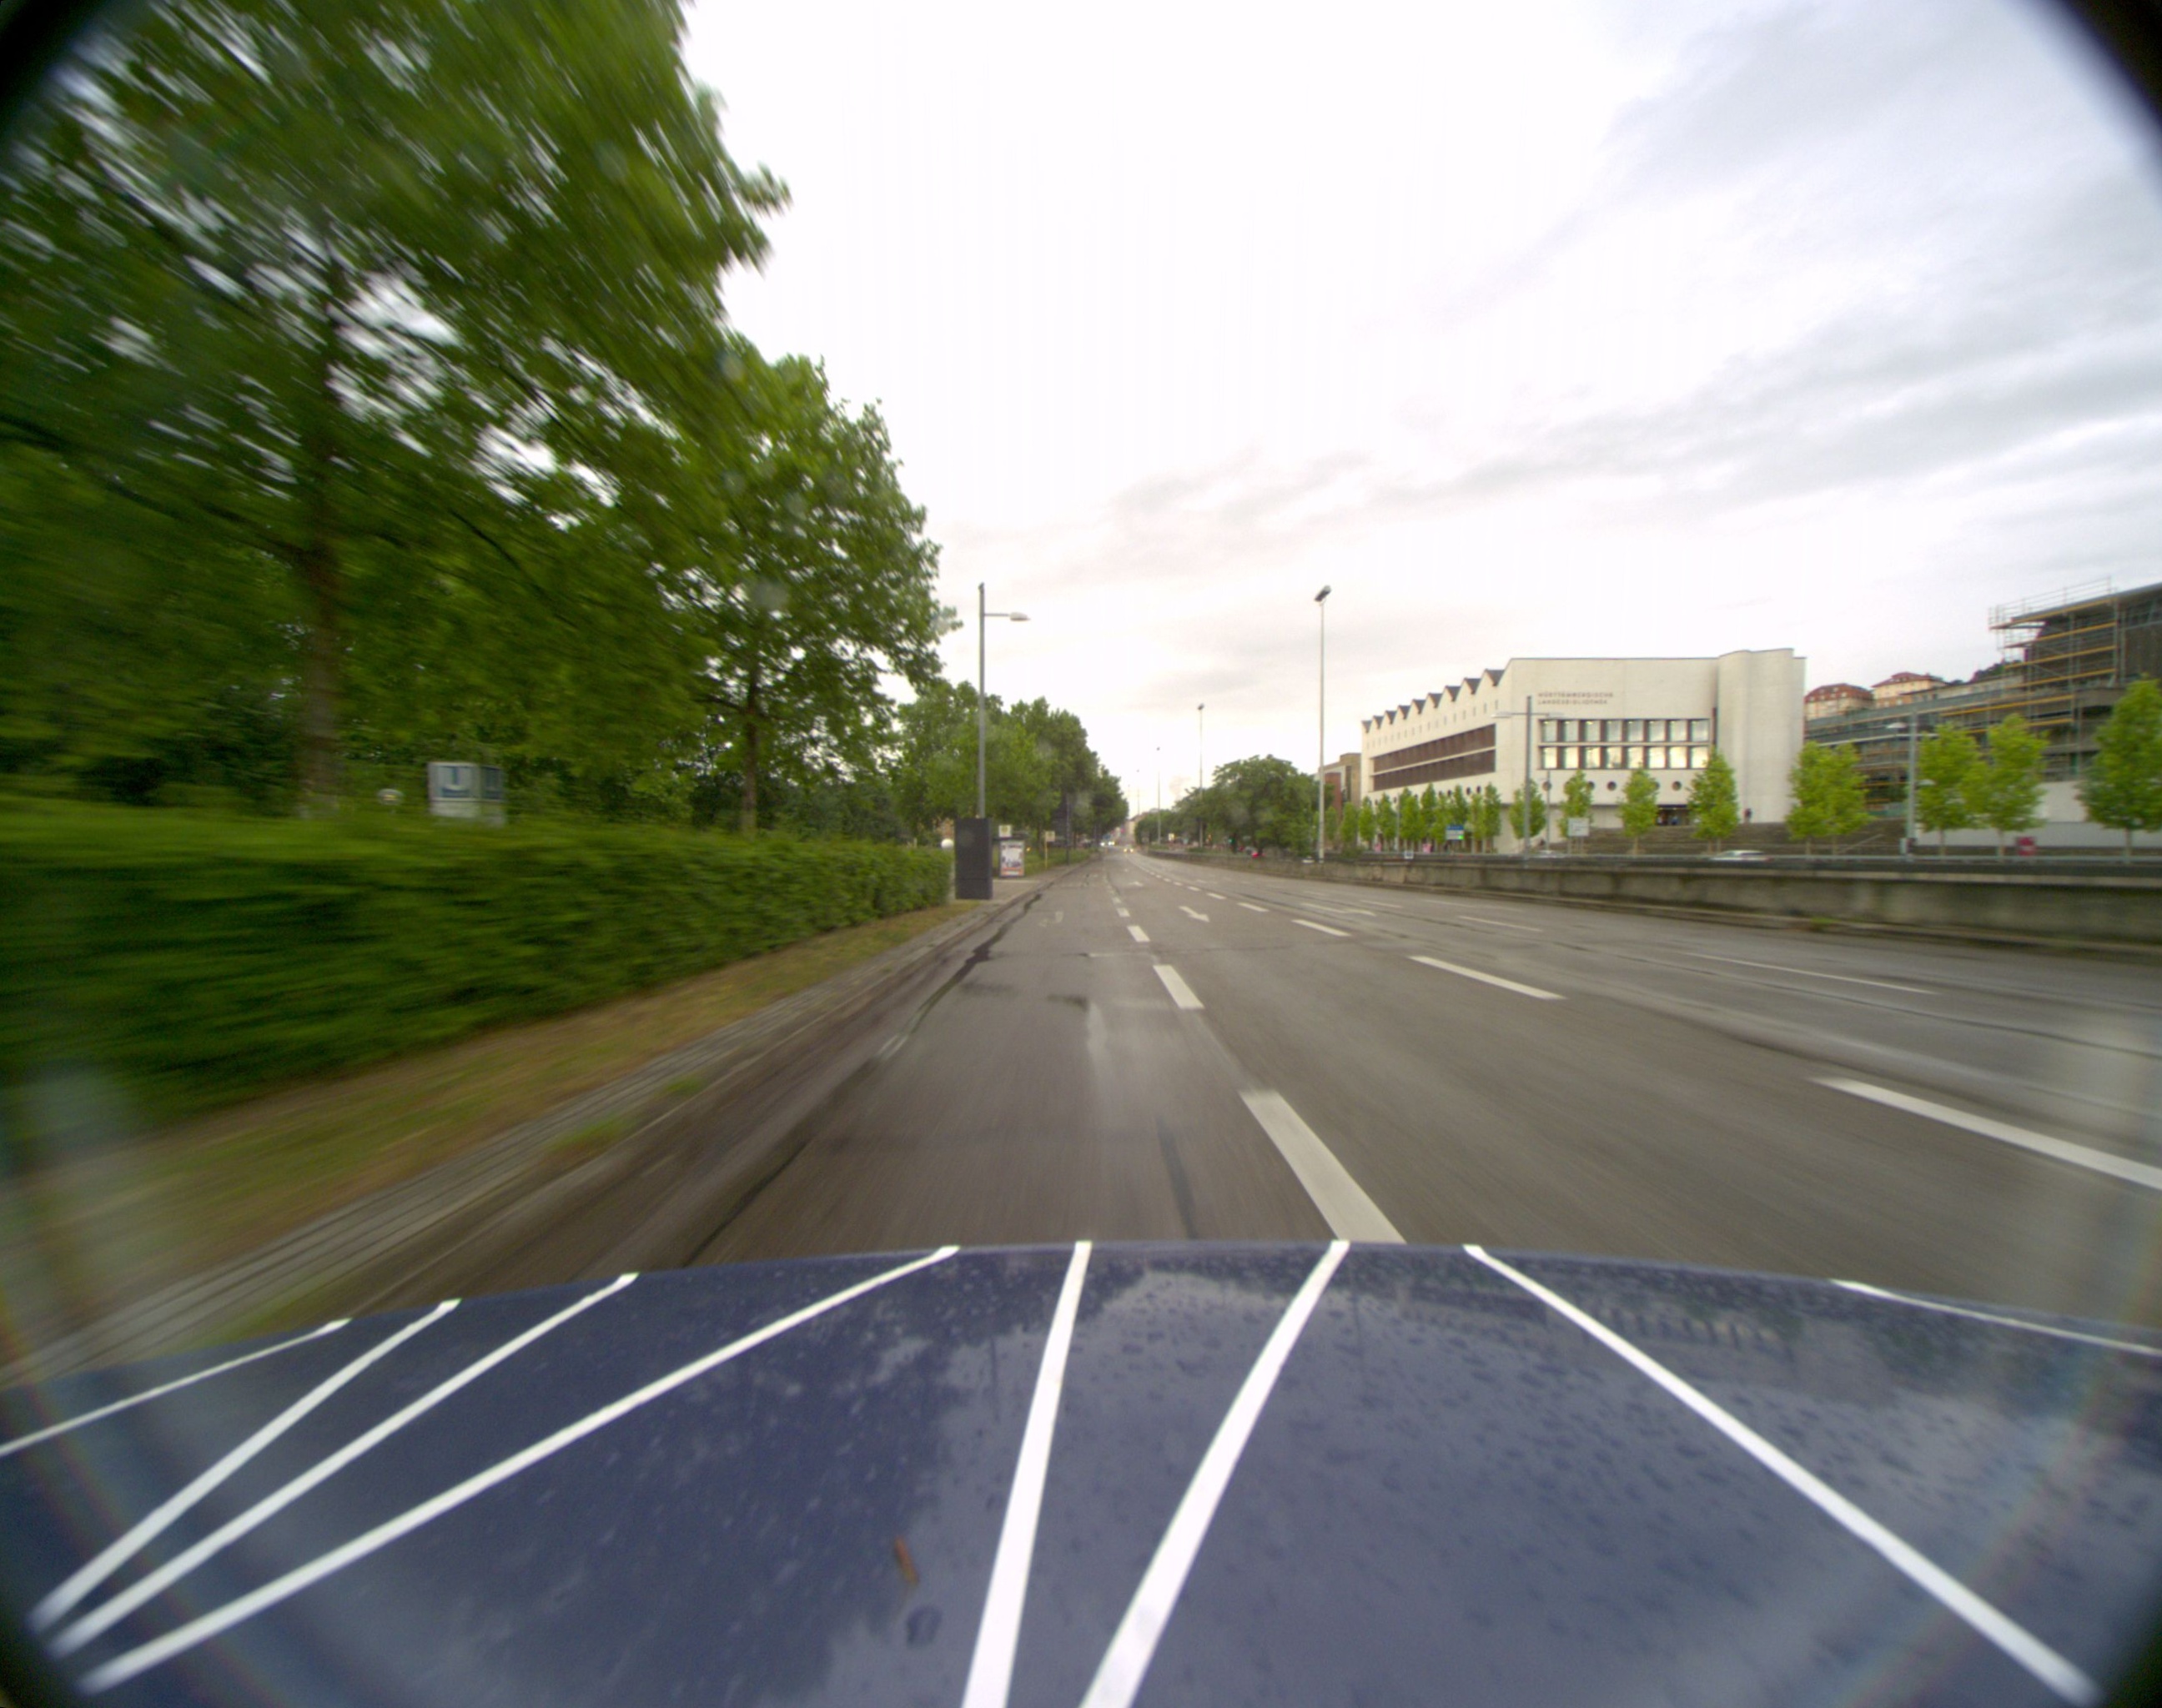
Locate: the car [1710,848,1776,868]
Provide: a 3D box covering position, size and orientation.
[{"bbox_3d":[40.714,0.244,46.788,1.444,1.108,3.020,-2,2,0],"label":"car"}]

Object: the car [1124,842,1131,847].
[{"bbox_3d":[10.800,-2.276,176.301,1.517,1.138,2.761,-1,2,5],"label":"car"}]

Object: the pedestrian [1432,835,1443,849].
[{"bbox_3d":[48.063,-1.598,102.377,1.087,1.856,0.830,-1,2,7],"label":"pedestrian"}]

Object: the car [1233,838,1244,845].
[{"bbox_3d":[35.662,-2.784,171.958,1.698,1.547,3.474,-2,2,-2],"label":"car"}]

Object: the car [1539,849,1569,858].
[{"bbox_3d":[40.094,-0.051,64.411,0.821,0.741,2.552,-2,2,-3],"label":"car"}]
